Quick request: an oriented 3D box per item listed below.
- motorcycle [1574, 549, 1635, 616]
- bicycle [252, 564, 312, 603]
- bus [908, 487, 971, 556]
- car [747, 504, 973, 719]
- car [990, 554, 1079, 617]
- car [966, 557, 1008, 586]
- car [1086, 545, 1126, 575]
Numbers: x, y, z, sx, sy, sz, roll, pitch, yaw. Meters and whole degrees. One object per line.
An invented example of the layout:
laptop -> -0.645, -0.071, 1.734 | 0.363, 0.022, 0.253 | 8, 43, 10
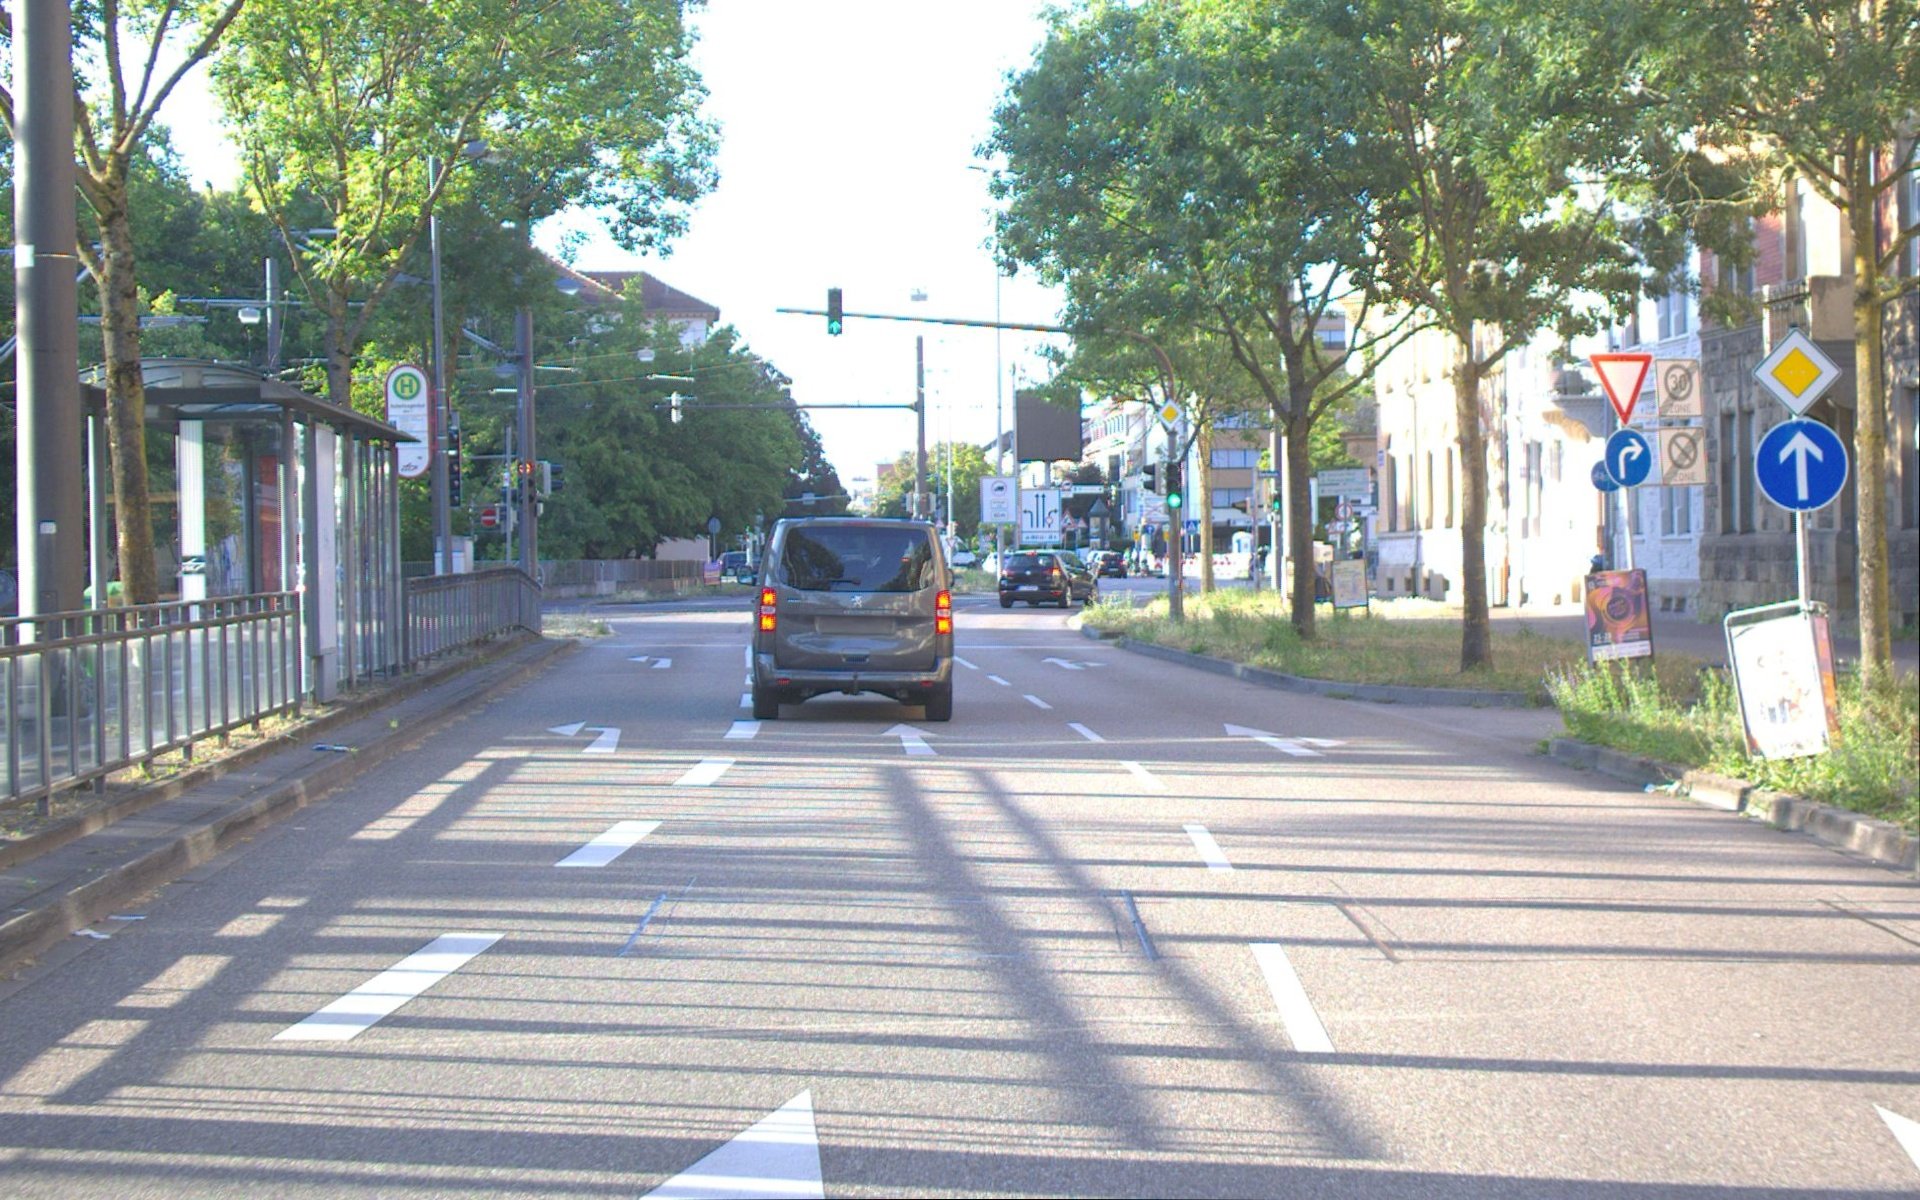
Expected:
motorcycle -> 11.901, -0.329, 63.559 | 0.553, 1.210, 2.073 | 1, 0, -5
bicycle -> -20.313, -0.500, 103.000 | 1.717, 1.138, 0.559 | -1, 1, -45
bus -> -1.477, -5.370, 238.274 | 3.289, 4.601, 10.002 | 1, 0, -6
car -> -1.004, 0.081, 33.180 | 1.993, 1.894, 4.299 | 1, 1, -3
car -> 1.905, -0.383, 86.802 | 1.994, 1.505, 3.999 | 1, 1, 5
car -> 1.541, -1.690, 200.881 | 1.993, 1.651, 4.300 | -1, 1, -6
car -> 8.337, -2.280, 196.623 | 1.993, 1.651, 4.299 | -1, 1, -2
